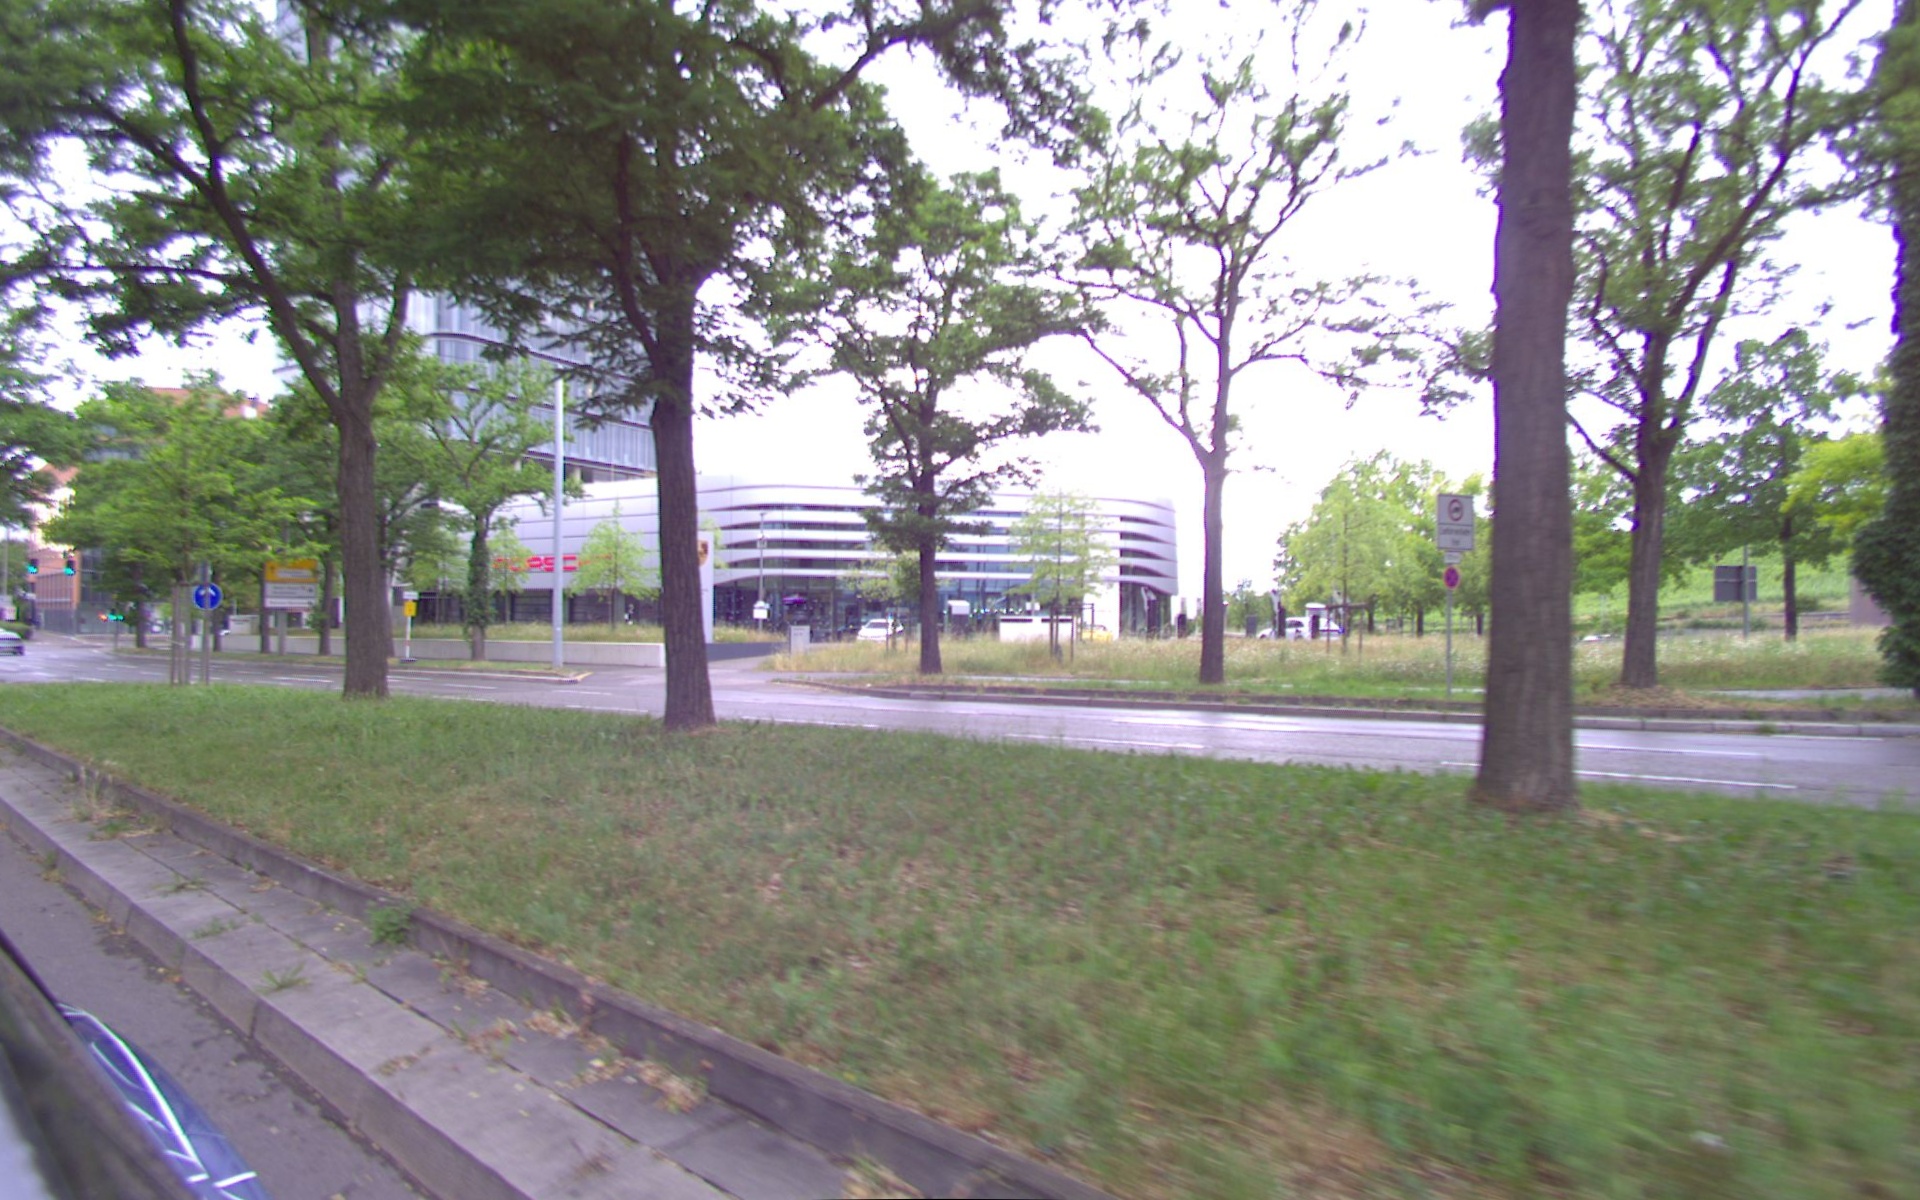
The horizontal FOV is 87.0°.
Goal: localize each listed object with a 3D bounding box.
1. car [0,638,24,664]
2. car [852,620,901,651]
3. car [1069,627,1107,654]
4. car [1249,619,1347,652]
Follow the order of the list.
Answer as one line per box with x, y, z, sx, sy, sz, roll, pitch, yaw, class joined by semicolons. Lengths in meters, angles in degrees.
-61.207;3.244;64.379;3.995;1.464;1.871;-1;1;39;car
-4.419;1.892;54.151;1.758;1.423;3.991;-1;1;7;car
7.250;2.256;56.928;1.605;1.334;3.981;-1;1;15;car
14.737;1.523;44.360;1.592;1.254;4.012;-2;1;-30;car
